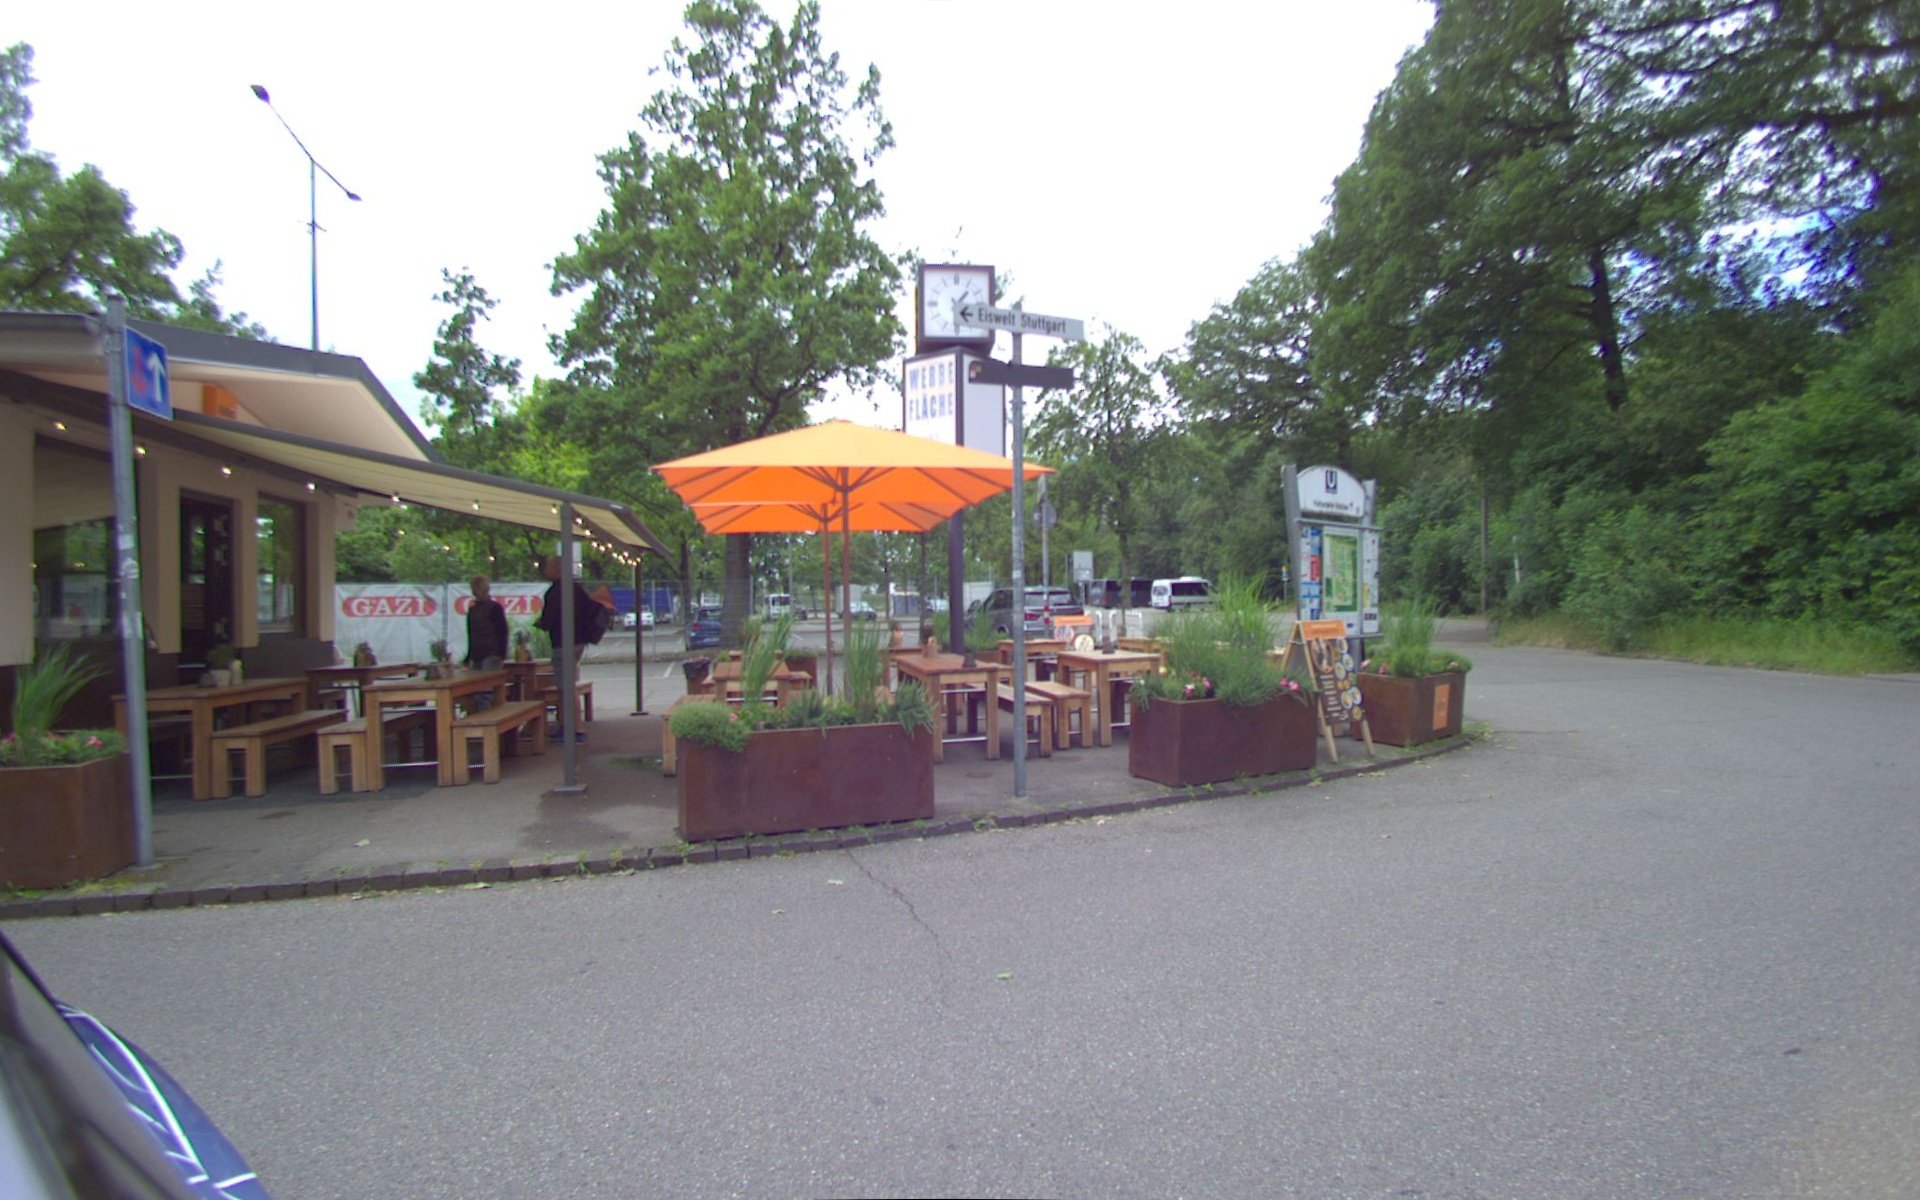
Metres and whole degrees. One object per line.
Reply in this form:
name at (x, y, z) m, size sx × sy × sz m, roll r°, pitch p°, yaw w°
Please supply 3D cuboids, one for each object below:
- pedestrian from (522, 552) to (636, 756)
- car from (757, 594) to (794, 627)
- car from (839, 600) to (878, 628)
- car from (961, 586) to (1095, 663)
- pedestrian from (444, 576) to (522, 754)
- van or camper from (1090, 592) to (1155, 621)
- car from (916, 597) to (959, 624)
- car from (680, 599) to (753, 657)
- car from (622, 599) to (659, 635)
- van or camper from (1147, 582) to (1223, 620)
pedestrian at (-3.637, 0.491, 9.661) m, size 0.749 × 1.845 × 0.701 m, roll -2°, pitch 0°, yaw 37°
car at (-12.420, 0.697, 67.911) m, size 1.845 × 2.055 × 4.604 m, roll -1°, pitch 0°, yaw -17°
car at (-6.952, 0.943, 69.032) m, size 1.845 × 1.793 × 4.308 m, roll -1°, pitch 0°, yaw -17°
car at (1.557, 0.558, 24.946) m, size 1.903 × 1.682 × 4.358 m, roll -1°, pitch 0°, yaw -16°
pedestrian at (-4.694, 0.620, 9.988) m, size 0.522 × 1.680 × 0.596 m, roll -1°, pitch 0°, yaw -10°
van or camper at (17.284, 0.682, 107.451) m, size 7.217 × 2.871 × 2.210 m, roll -2°, pitch 0°, yaw -33°
car at (-1.634, 0.713, 70.455) m, size 1.845 × 1.793 × 4.308 m, roll -1°, pitch 0°, yaw -17°
car at (-7.304, 0.791, 30.290) m, size 1.966 × 1.564 × 4.011 m, roll -1°, pitch 0°, yaw -14°
car at (-18.931, 0.973, 59.999) m, size 1.966 × 2.029 × 4.012 m, roll -1°, pitch 0°, yaw -17°
van or camper at (18.582, 0.070, 83.191) m, size 7.225 × 2.871 × 2.072 m, roll -2°, pitch 0°, yaw -40°
